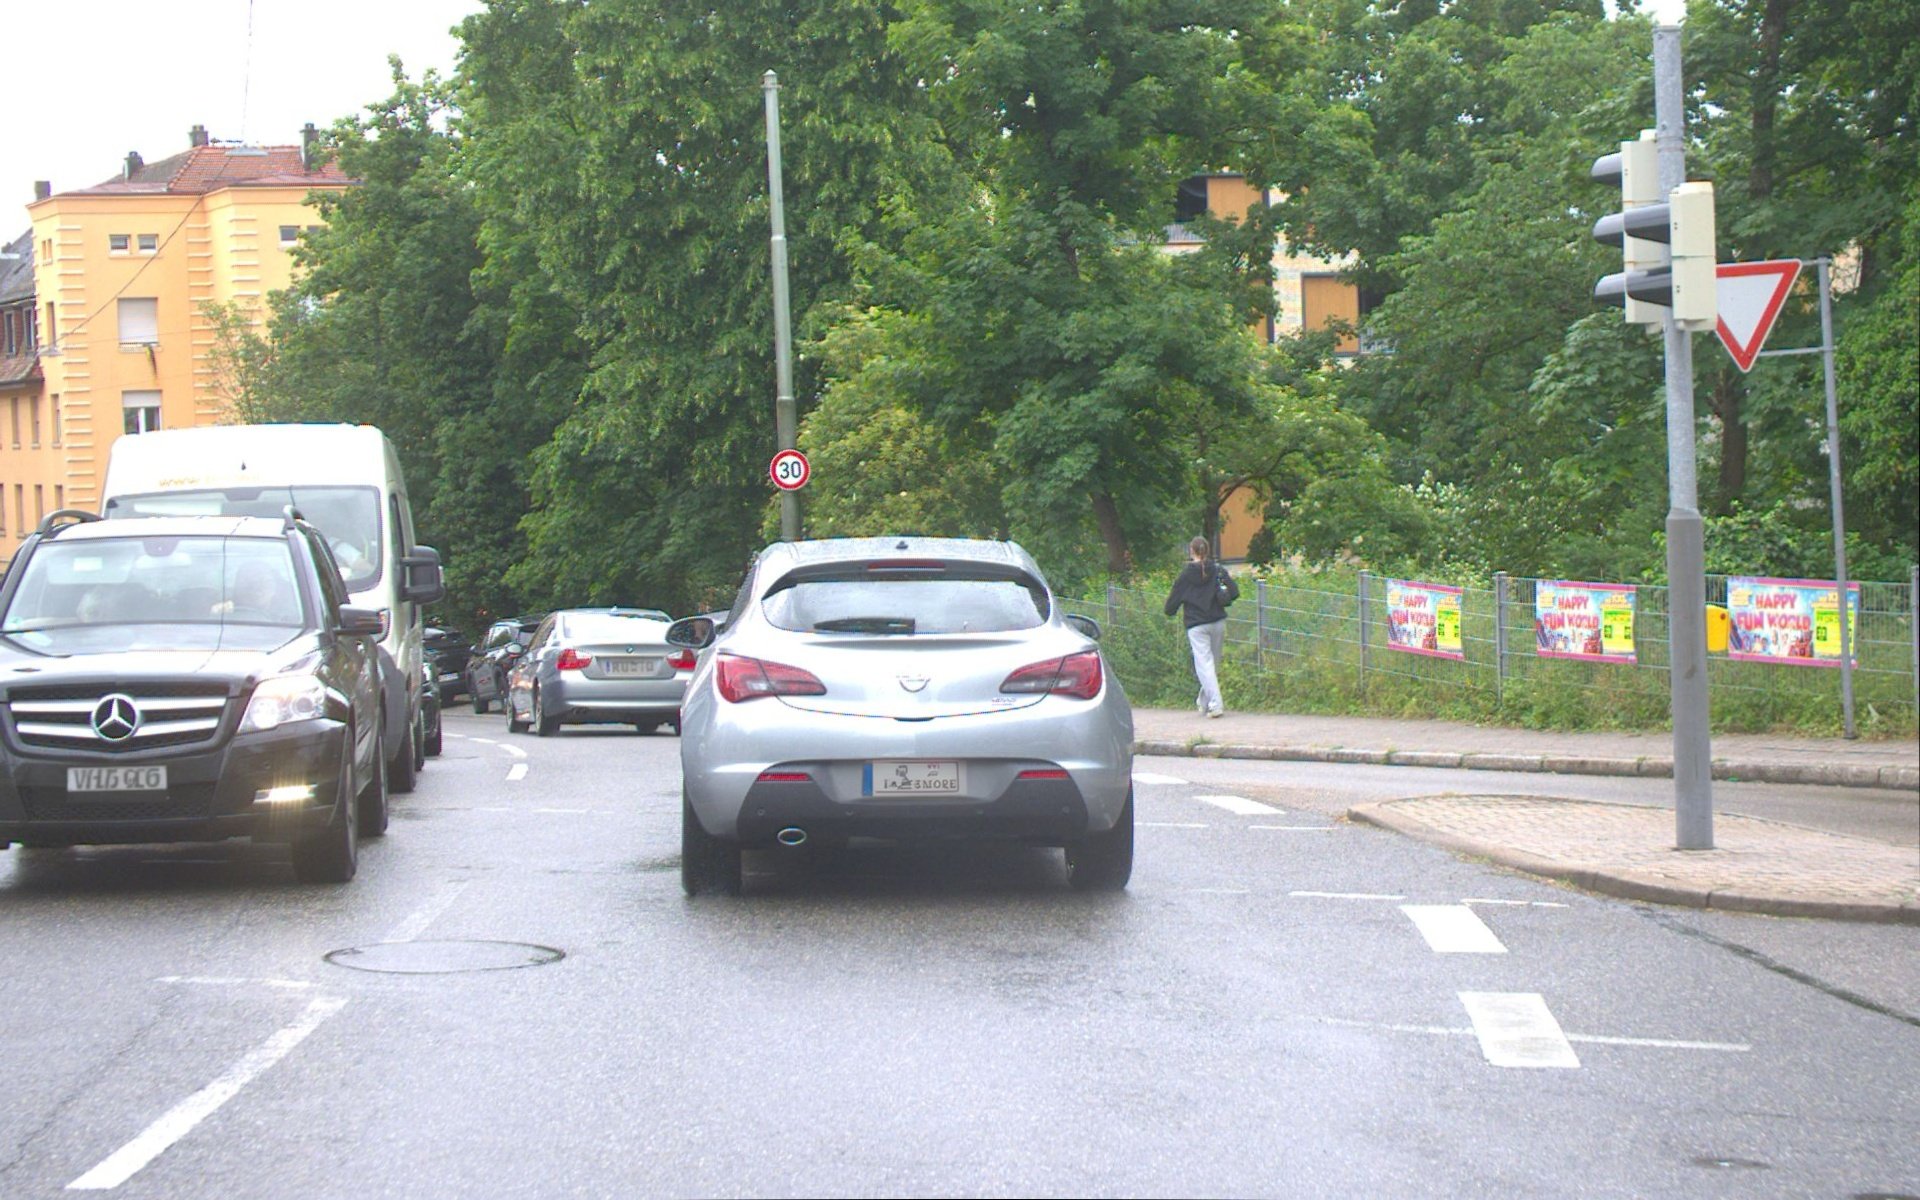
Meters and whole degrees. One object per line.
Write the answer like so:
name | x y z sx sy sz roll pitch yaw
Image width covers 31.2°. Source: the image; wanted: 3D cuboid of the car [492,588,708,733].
car | -4.021 0.685 37.938 1.776 1.425 3.786 -3 -1 -14

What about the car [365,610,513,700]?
car | -10.741 1.150 70.684 1.975 1.604 4.485 -5 0 -21

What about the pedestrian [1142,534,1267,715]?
pedestrian | 2.272 0.231 32.031 0.765 1.600 0.966 -5 0 -14

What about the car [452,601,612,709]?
car | -7.637 0.966 60.958 1.821 1.677 4.804 -5 1 -18

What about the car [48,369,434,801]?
car | -4.790 -0.083 23.667 2.117 2.537 5.541 -3 0 -8

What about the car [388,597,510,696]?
car | -7.830 0.690 52.485 1.382 1.407 3.457 -2 0 -15

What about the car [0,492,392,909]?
car | -3.658 0.375 15.976 1.821 1.646 4.347 -1 1 -7

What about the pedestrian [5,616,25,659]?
pedestrian | -34.435 1.366 125.285 0.613 1.491 0.553 -2 3 -23

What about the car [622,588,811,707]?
car | -3.272 0.636 45.570 1.649 1.400 3.814 -4 0 -16

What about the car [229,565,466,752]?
car | -5.420 0.499 30.087 1.814 1.425 4.001 -3 0 -12

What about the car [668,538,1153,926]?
car | -0.353 0.473 15.154 1.814 1.425 4.001 -2 1 -5
